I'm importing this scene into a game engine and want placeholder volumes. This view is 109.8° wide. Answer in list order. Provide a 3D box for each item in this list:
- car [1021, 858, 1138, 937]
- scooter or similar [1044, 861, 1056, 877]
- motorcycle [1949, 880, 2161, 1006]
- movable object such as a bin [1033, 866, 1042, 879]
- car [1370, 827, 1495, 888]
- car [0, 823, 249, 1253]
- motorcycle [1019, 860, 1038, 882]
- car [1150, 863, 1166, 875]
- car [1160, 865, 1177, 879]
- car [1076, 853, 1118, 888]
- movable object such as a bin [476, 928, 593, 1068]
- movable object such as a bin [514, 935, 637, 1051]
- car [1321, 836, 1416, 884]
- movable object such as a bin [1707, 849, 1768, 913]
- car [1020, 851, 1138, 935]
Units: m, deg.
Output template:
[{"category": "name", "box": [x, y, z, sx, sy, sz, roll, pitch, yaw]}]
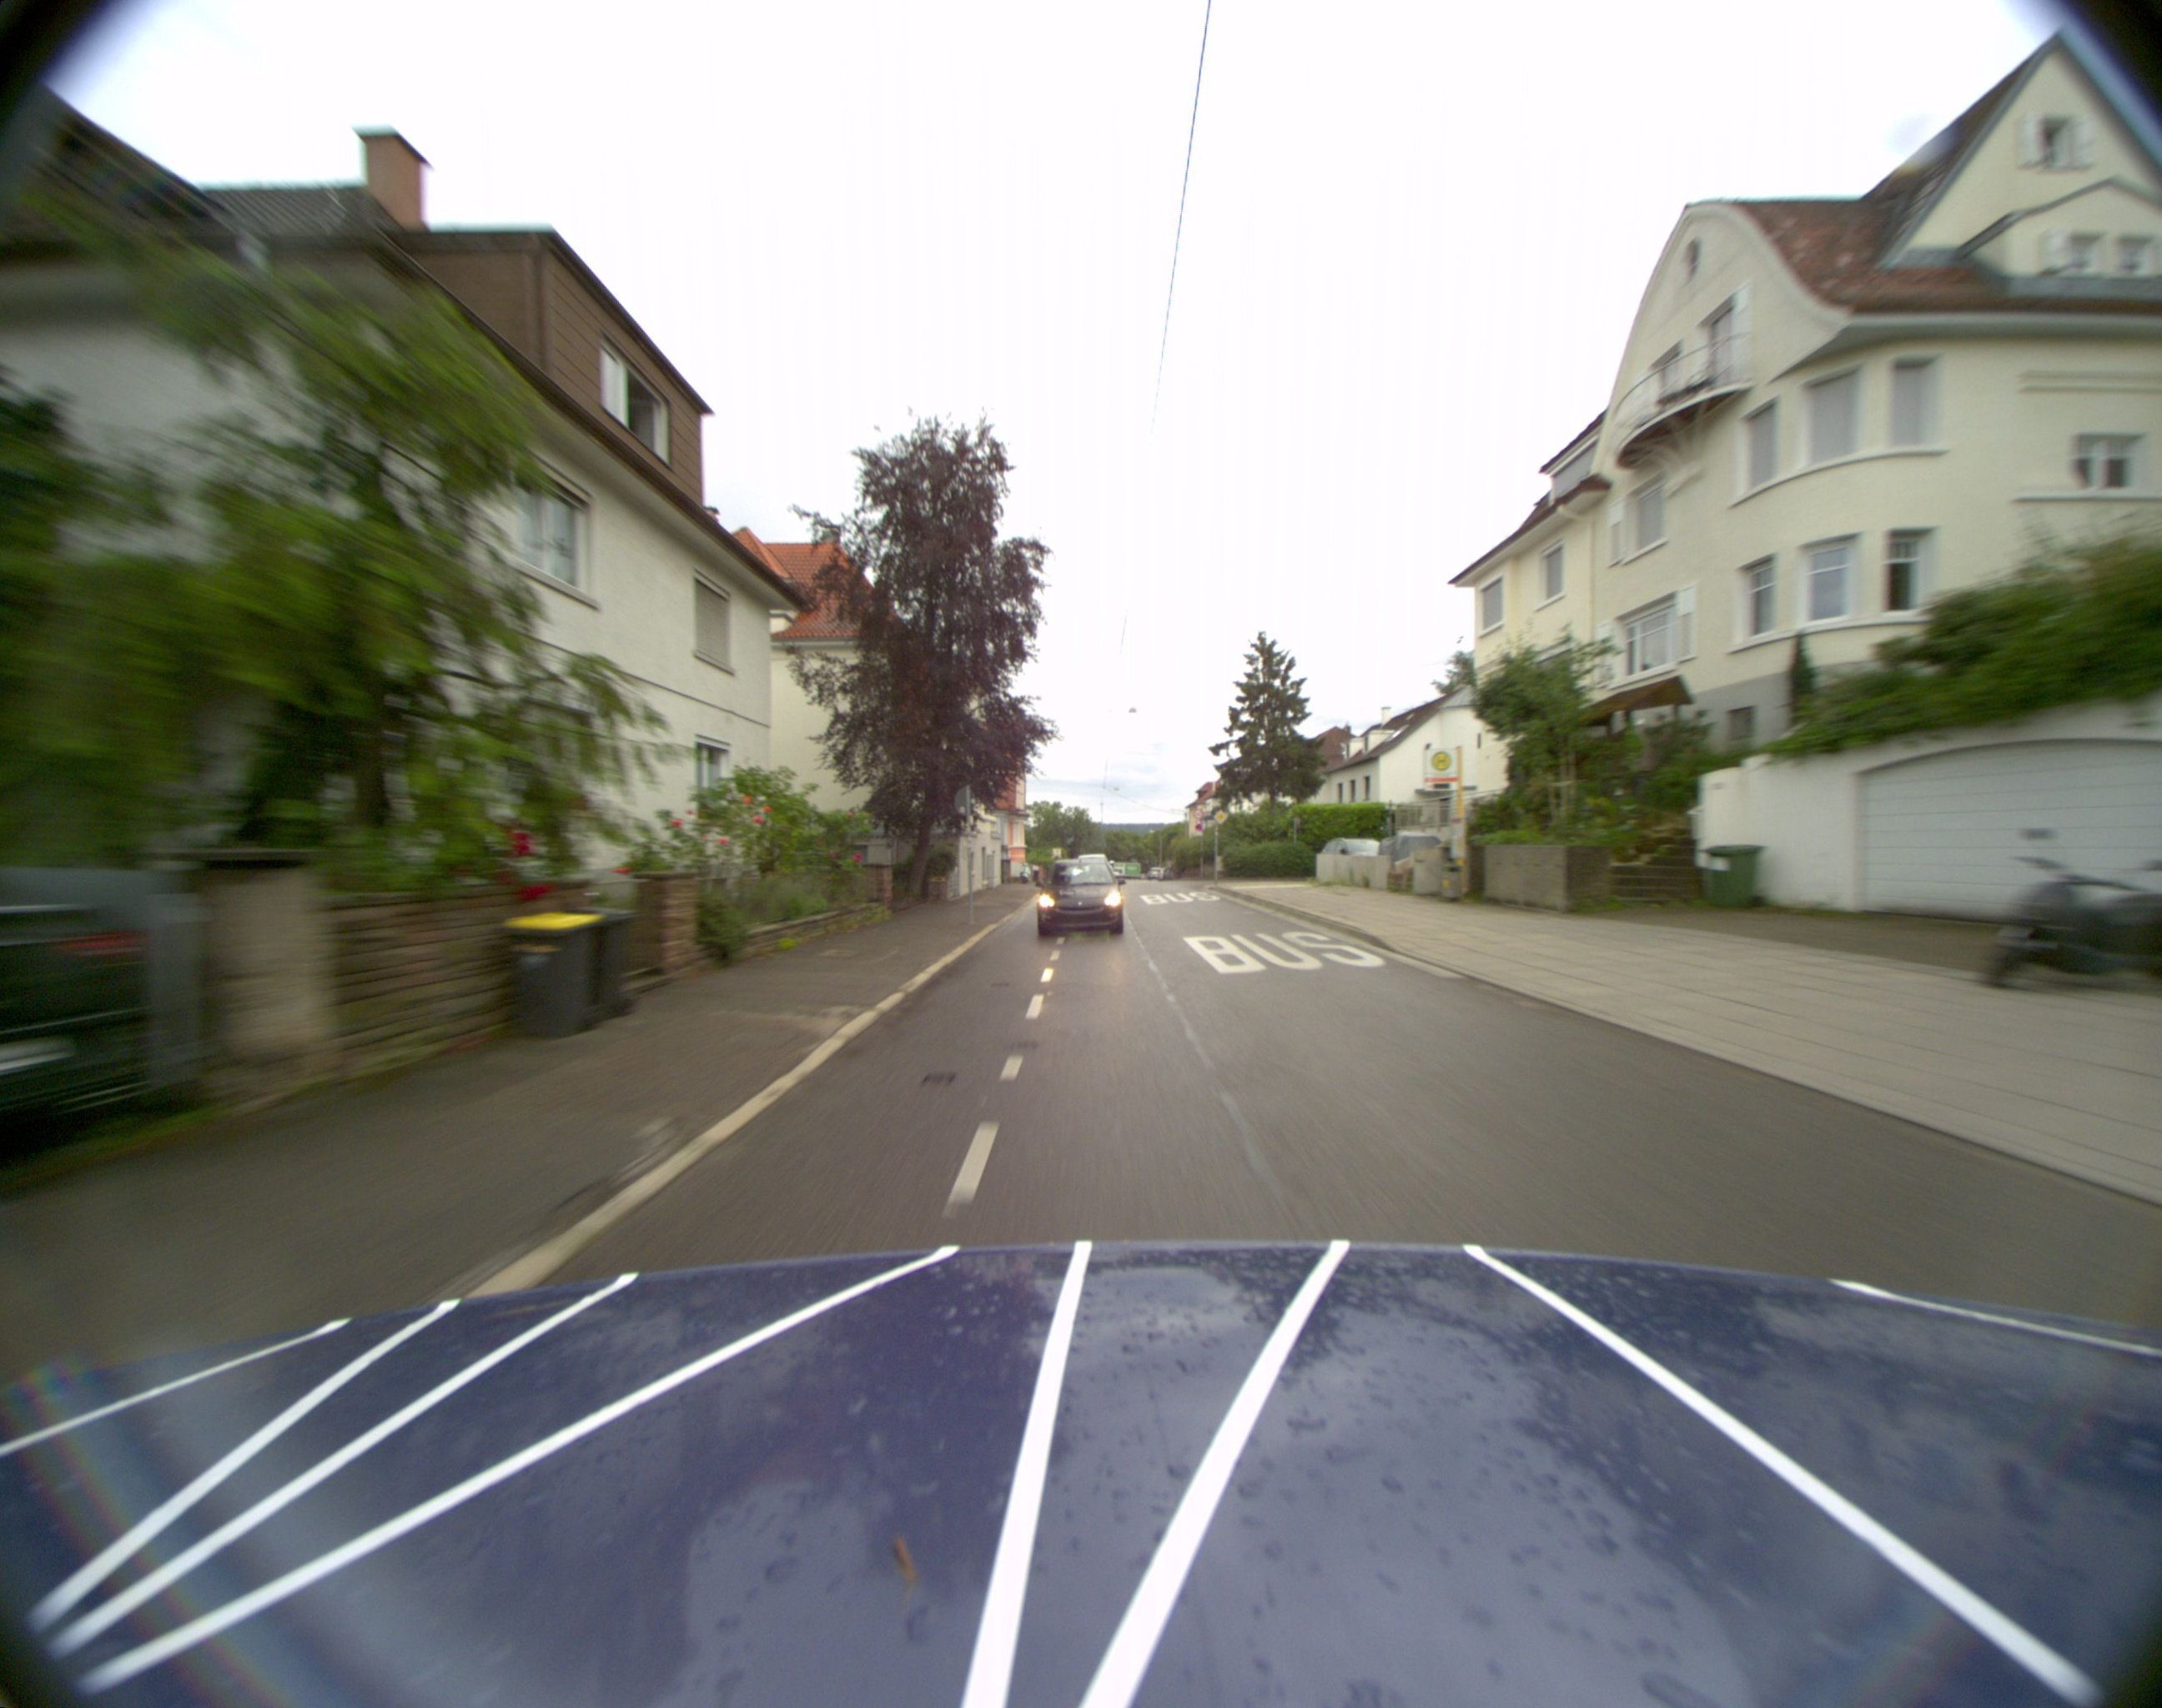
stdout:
[{"category": "car", "box": [0.100, 0.832, 15.979, 1.710, 1.413, 4.004, -2, -1, 10]}, {"category": "scooter or similar", "box": [-2.664, 1.290, 65.537, 0.355, 1.394, 1.481, -2, -1, 26]}, {"category": "motorcycle", "box": [8.679, 0.736, 6.493, 1.798, 0.898, 0.603, -3, 1, 1]}, {"category": "movable object such as a bin", "box": [-3.080, 1.322, 53.869, 0.533, 0.913, 0.488, 2, -1, -1]}, {"category": "car", "box": [10.628, 0.132, 23.328, 1.770, 1.686, 3.999, -1, -1, -3]}, {"category": "car", "box": [-6.115, 0.745, 2.800, 3.997, 1.630, 1.919, -1, -1, 1]}, {"category": "motorcycle", "box": [-3.045, 0.987, 44.179, 0.694, 1.219, 2.154, 5, 0, 5]}, {"category": "car", "box": [9.710, 1.862, 95.893, 1.868, 1.492, 4.002, -1, -1, 4]}, {"category": "car", "box": [9.555, 1.951, 83.213, 1.594, 1.482, 3.438, -2, -1, 2]}, {"category": "car", "box": [0.781, 0.813, 37.355, 1.928, 1.577, 4.001, -1, -1, 1]}, {"category": "movable object such as a bin", "box": [-4.090, 1.062, 5.711, 0.495, 0.950, 0.503, -1, 0, -1]}, {"category": "movable object such as a bin", "box": [-4.126, 1.121, 6.232, 0.652, 0.850, 0.503, -1, 0, -1]}, {"category": "car", "box": [10.457, 0.245, 27.982, 1.770, 1.608, 3.999, -1, -1, -3]}, {"category": "movable object such as a bin", "box": [11.124, 0.451, 12.885, 0.575, 1.052, 0.513, -1, 0, 1]}, {"category": "car", "box": [0.102, 0.758, 15.908, 1.695, 1.482, 3.944, -3, -1, 11]}]
